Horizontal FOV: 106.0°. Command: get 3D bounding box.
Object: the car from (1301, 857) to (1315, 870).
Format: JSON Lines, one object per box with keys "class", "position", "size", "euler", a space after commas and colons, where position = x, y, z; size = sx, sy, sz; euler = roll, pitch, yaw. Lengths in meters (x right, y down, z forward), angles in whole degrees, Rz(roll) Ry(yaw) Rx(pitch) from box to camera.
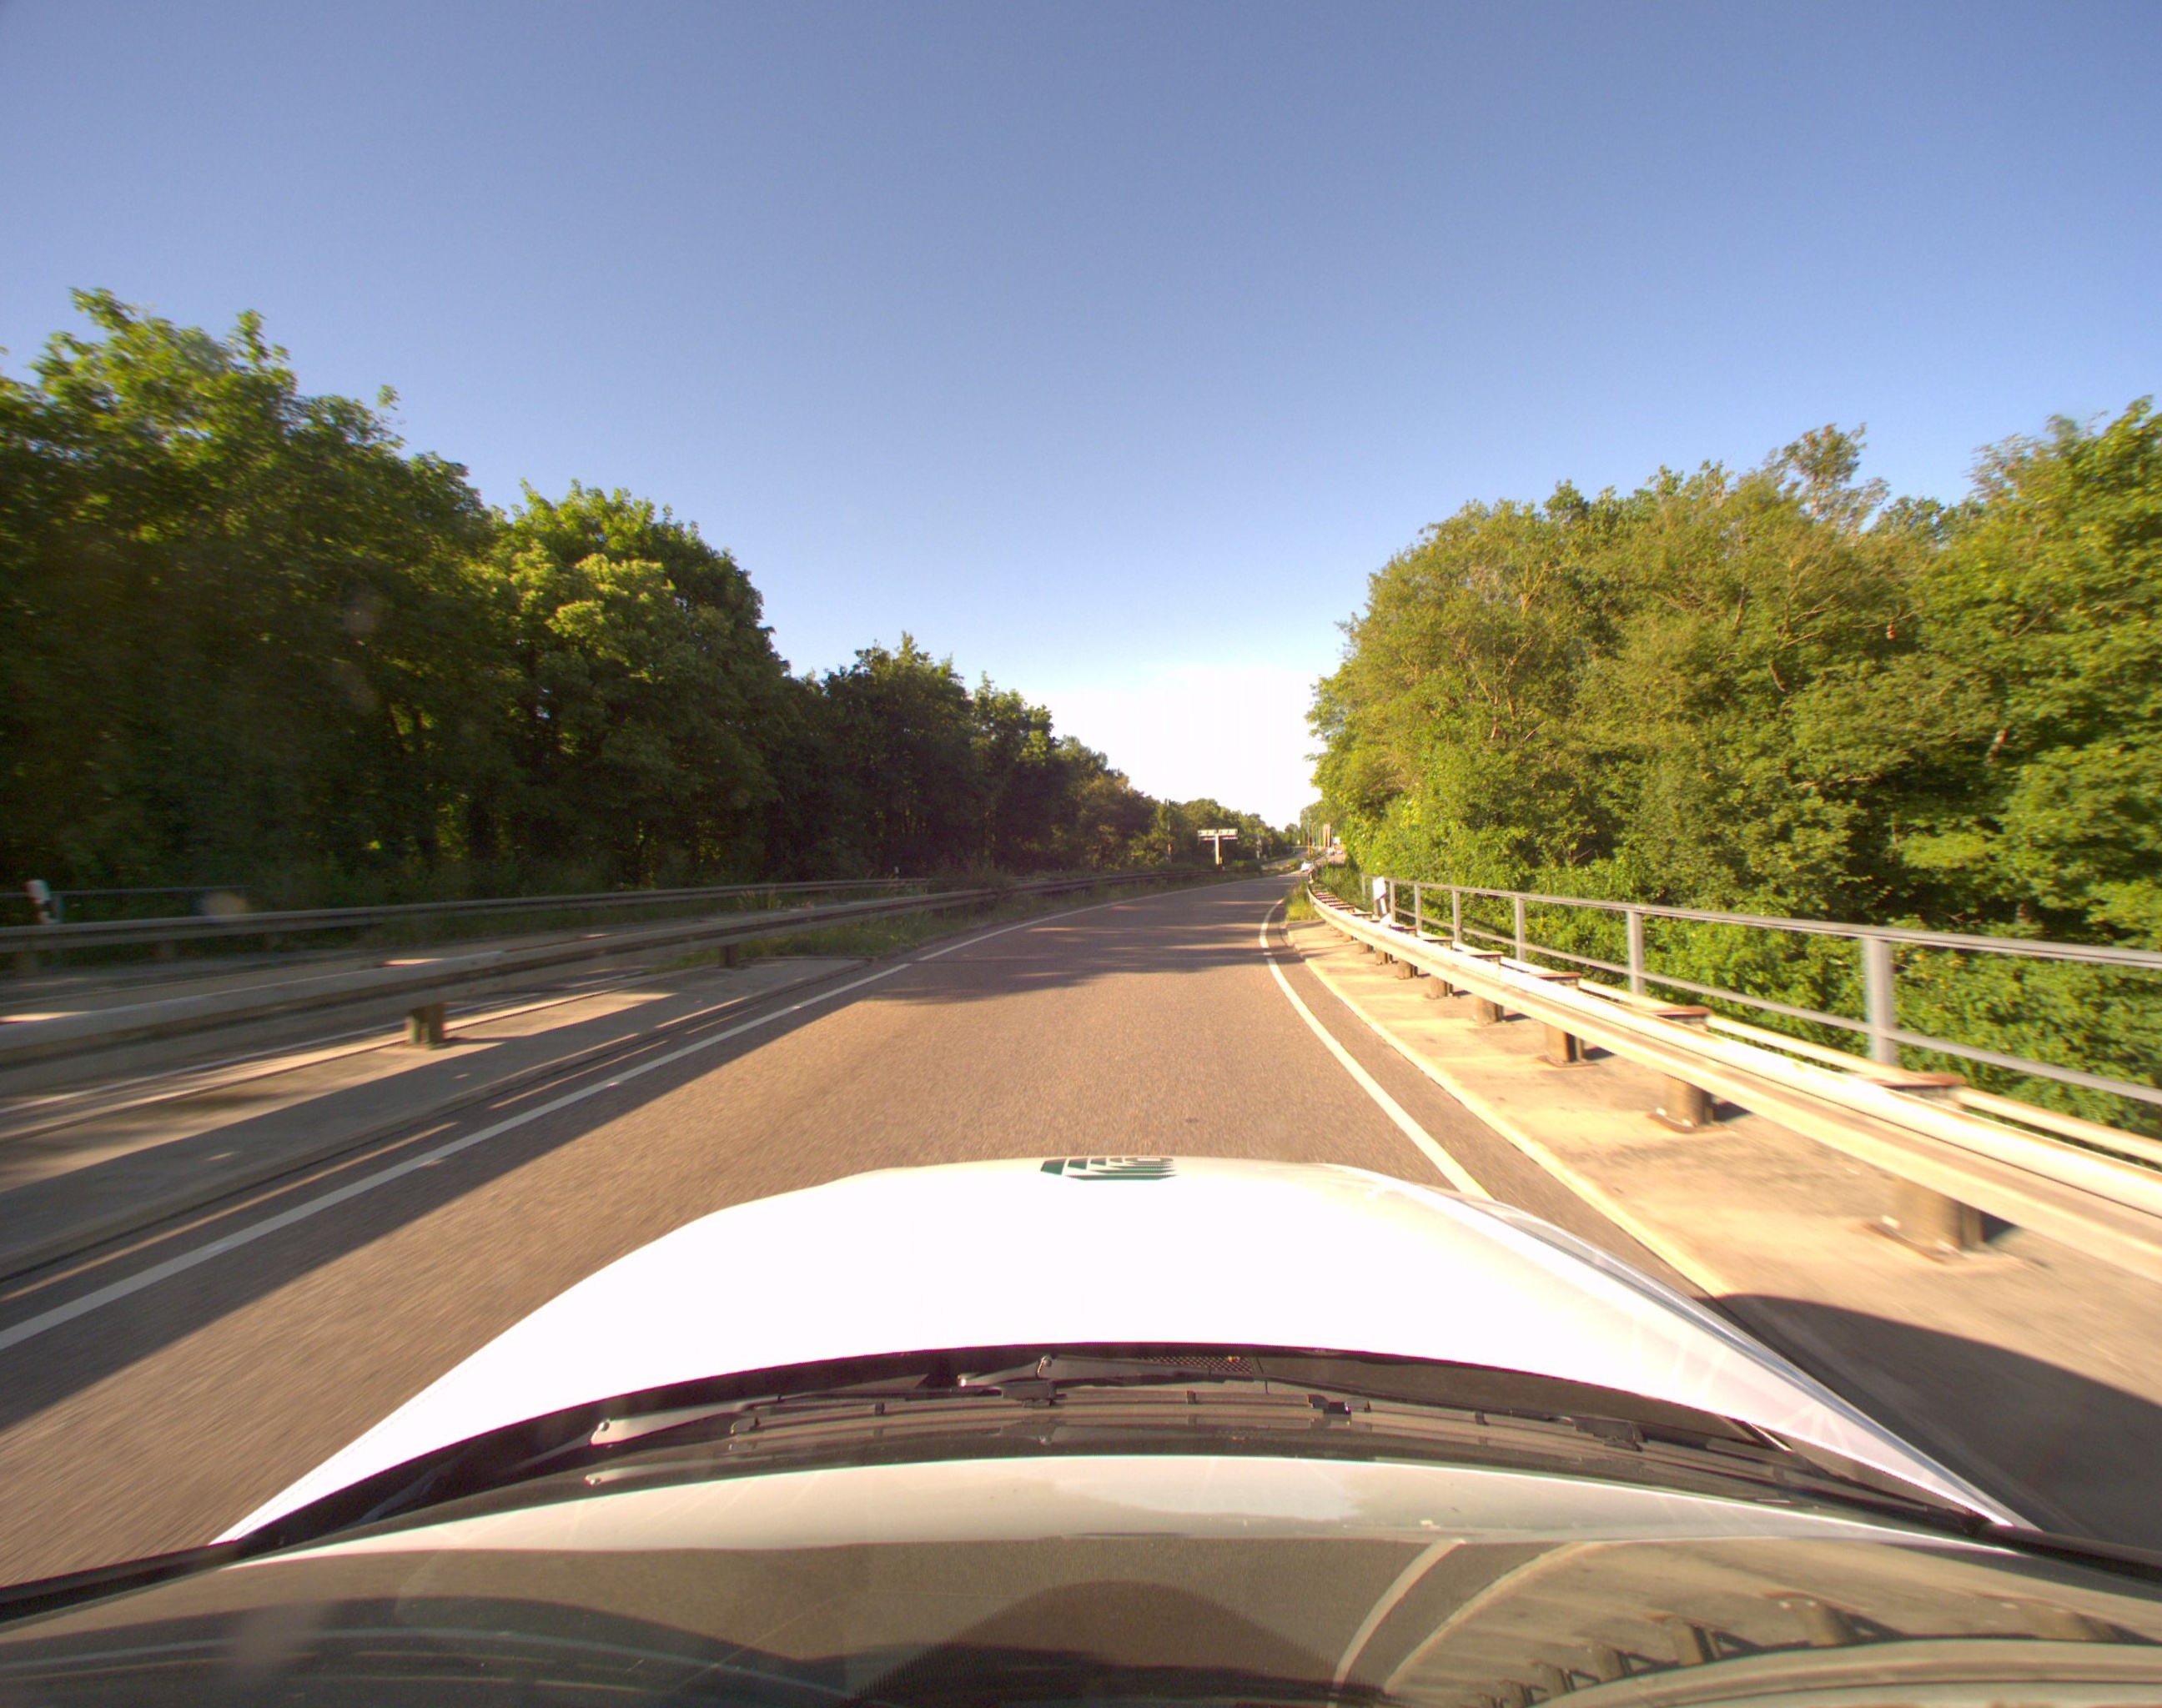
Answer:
{"class": "car", "position": [32.378, 1.349, 116.047], "size": [1.871, 1.816, 4.016], "euler": [1, 0, 15]}
